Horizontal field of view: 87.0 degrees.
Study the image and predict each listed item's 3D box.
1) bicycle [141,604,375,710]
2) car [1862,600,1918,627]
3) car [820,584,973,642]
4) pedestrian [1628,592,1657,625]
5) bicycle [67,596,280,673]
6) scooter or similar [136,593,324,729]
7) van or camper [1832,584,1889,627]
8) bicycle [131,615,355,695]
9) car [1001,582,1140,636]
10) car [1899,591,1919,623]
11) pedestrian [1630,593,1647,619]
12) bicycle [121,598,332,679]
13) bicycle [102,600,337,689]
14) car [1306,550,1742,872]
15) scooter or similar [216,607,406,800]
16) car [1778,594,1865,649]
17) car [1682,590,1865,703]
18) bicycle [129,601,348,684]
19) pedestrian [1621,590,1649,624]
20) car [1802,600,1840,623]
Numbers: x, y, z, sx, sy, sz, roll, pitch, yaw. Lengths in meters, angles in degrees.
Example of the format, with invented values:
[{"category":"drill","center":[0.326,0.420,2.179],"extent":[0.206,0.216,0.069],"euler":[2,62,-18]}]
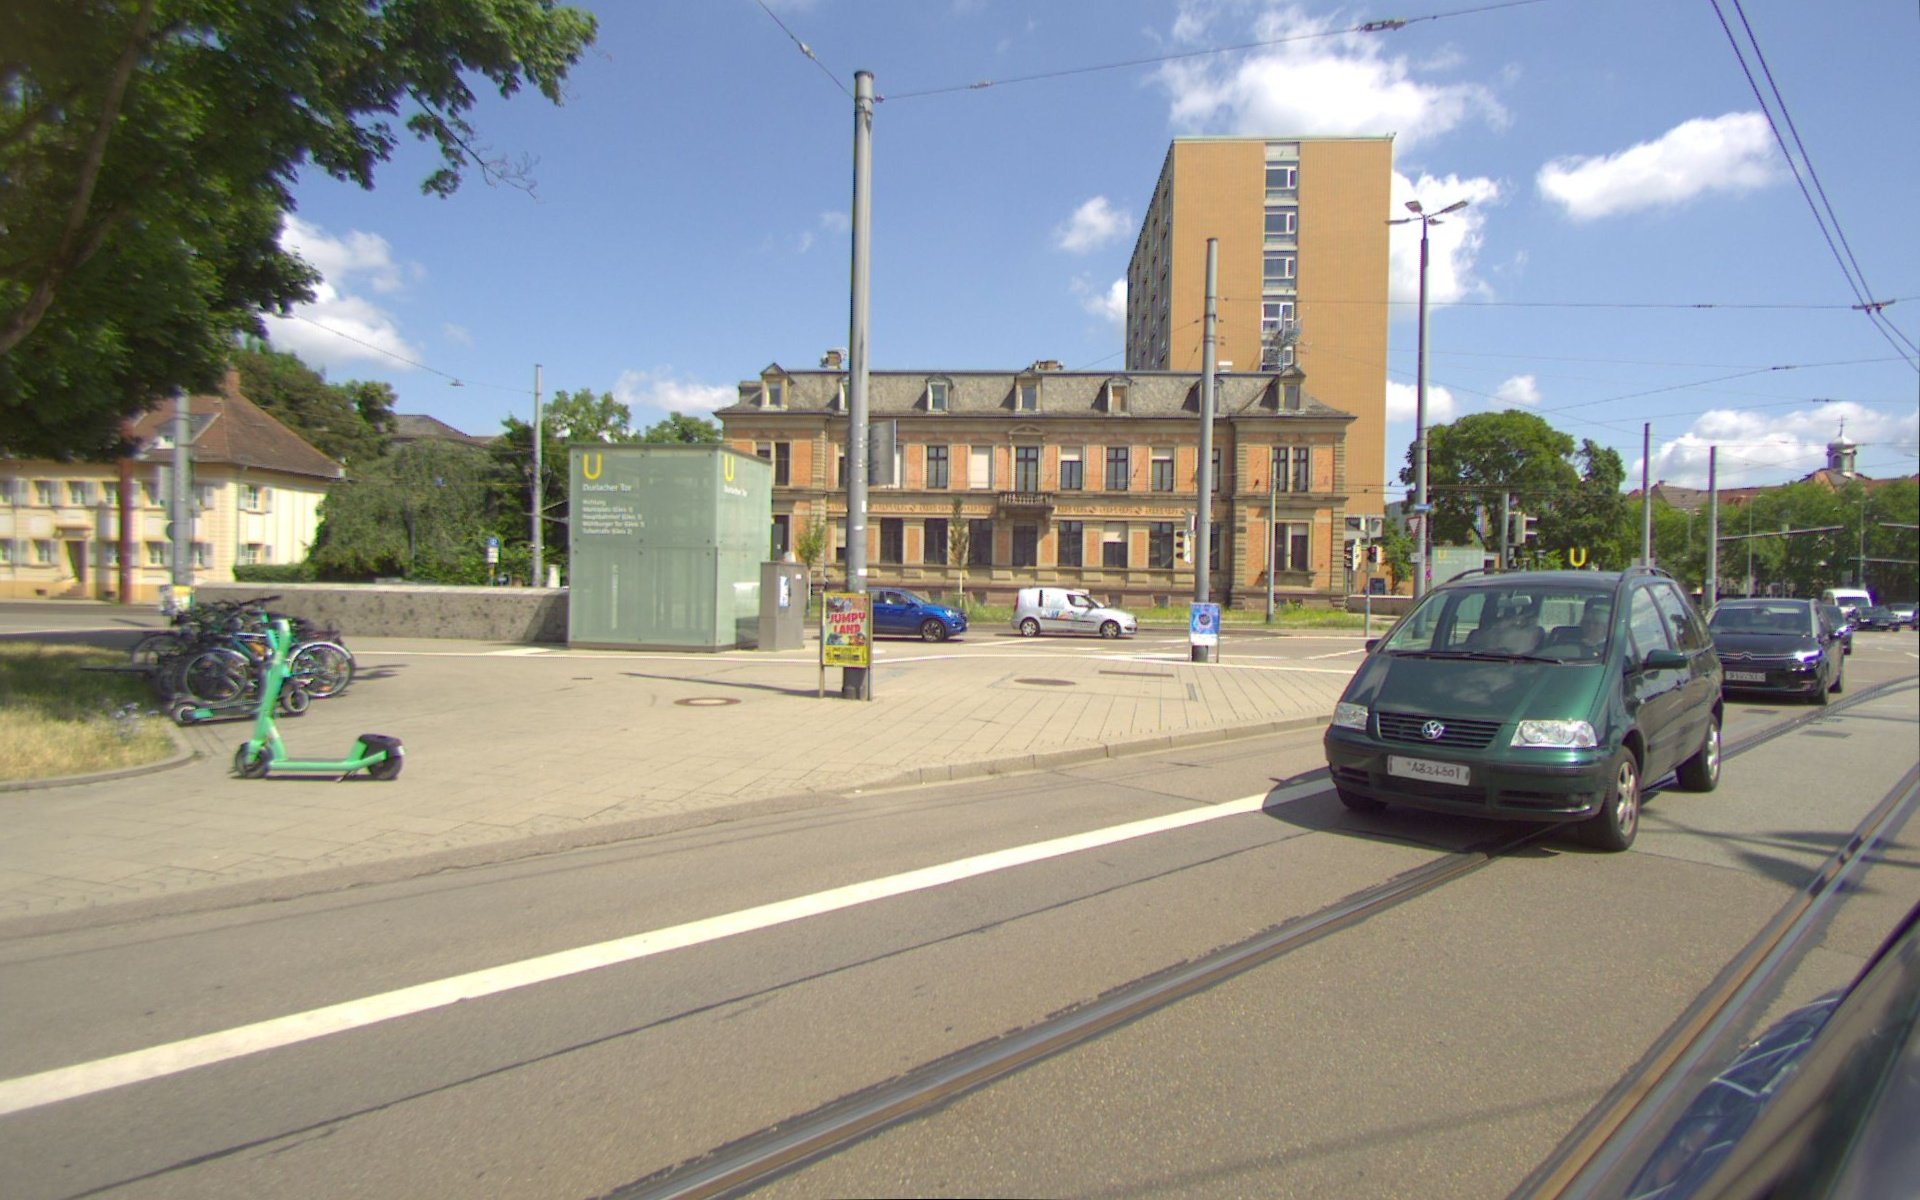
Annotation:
[{"category":"bicycle","center":[-8.382,0.624,12.143],"extent":[2.223,1.095,1.027],"euler":[0,2,-39]},{"category":"car","center":[54.866,0.768,59.767],"extent":[1.890,1.482,4.206],"euler":[1,1,36]},{"category":"car","center":[-1.902,0.355,30.813],"extent":[4.357,1.570,1.869],"euler":[1,3,12]},{"category":"pedestrian","center":[36.672,0.443,54.393],"extent":[1.010,1.741,0.727],"euler":[1,1,8]},{"category":"bicycle","center":[-12.024,0.487,15.570],"extent":[2.527,1.066,0.793],"euler":[0,2,-39]},{"category":"scooter or similar","center":[-7.321,0.561,10.177],"extent":[0.947,1.218,1.369],"euler":[3,2,42]},{"category":"van or camper","center":[60.251,0.349,67.781],"extent":[2.220,2.770,5.450],"euler":[2,1,36]},{"category":"bicycle","center":[-9.123,0.691,12.946],"extent":[2.246,0.891,0.844],"euler":[2,1,-39]},{"category":"car","center":[3.635,0.263,32.938],"extent":[4.356,1.607,1.869],"euler":[1,1,11]},{"category":"car","center":[62.652,0.466,65.781],"extent":[1.805,2.039,3.949],"euler":[1,1,35]},{"category":"pedestrian","center":[43.267,0.365,64.554],"extent":[0.826,1.606,0.757],"euler":[1,0,38]},{"category":"bicycle","center":[-11.018,0.539,15.289],"extent":[2.527,1.104,0.793],"euler":[0,2,-39]},{"category":"bicycle","center":[-10.028,0.554,13.805],"extent":[2.527,1.083,0.793],"euler":[0,2,-39]},{"category":"car","center":[4.374,0.596,7.553],"extent":[4.018,1.739,1.815],"euler":[0,0,-45]},{"category":"scooter or similar","center":[-4.597,0.666,7.179],"extent":[1.065,1.194,0.951],"euler":[0,2,-35]},{"category":"car","center":[25.977,0.594,30.515],"extent":[1.867,1.504,4.360],"euler":[2,1,41]},{"category":"car","center":[13.584,0.681,16.803],"extent":[4.354,1.637,1.869],"euler":[0,-1,-45]},{"category":"bicycle","center":[-10.387,0.573,14.653],"extent":[2.527,1.066,0.793],"euler":[0,2,-39]},{"category":"pedestrian","center":[36.825,0.381,55.230],"extent":[1.010,1.835,0.727],"euler":[1,0,8]},{"category":"car","center":[64.190,0.836,75.492],"extent":[1.770,1.594,3.912],"euler":[2,0,35]}]
